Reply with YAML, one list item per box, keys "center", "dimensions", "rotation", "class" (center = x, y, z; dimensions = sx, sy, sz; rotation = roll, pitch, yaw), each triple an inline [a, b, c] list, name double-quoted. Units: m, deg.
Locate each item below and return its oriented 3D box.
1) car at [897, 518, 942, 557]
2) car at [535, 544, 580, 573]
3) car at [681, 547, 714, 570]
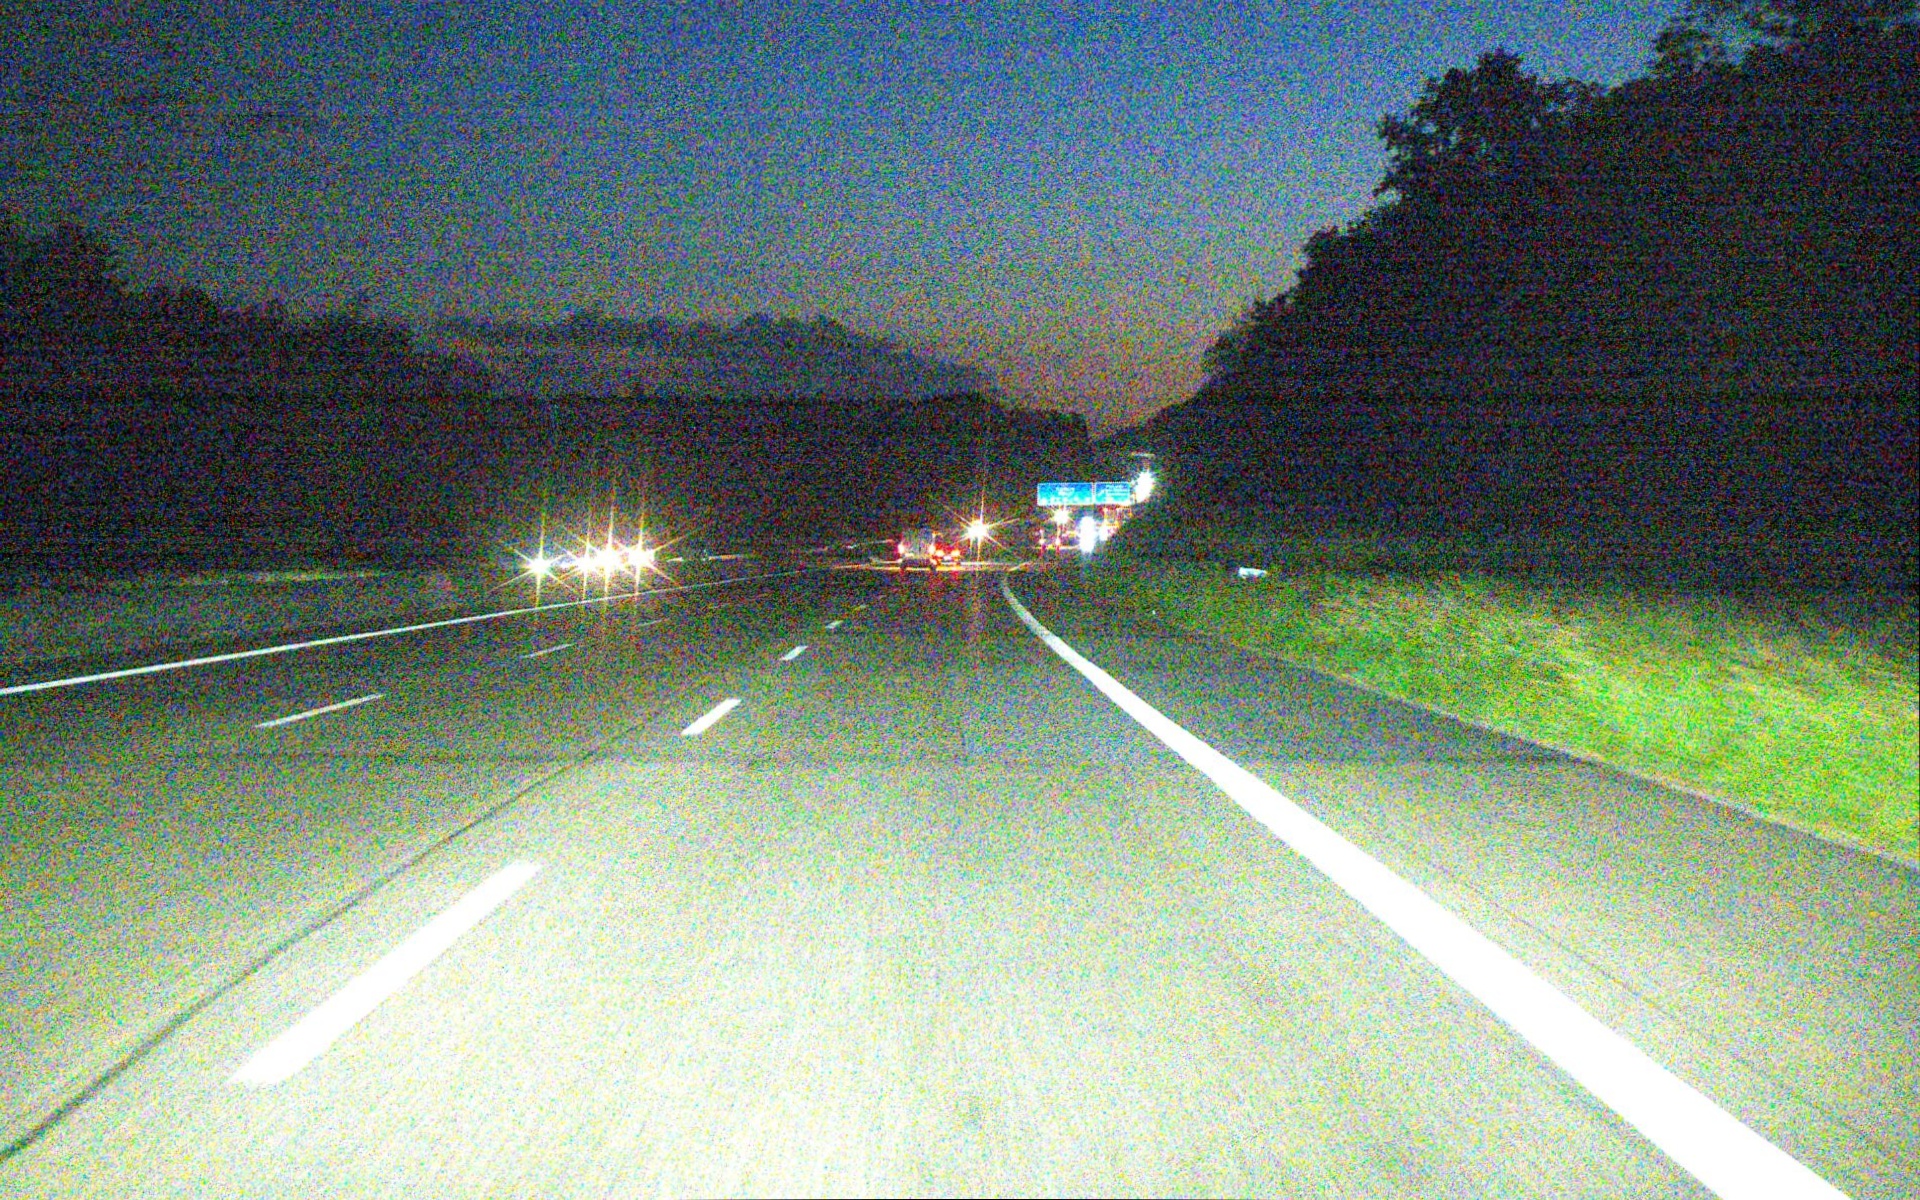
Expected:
- center: [-2.413, -3.739, 205.136]
  dimensions: [2.511, 2.306, 4.970]
  rotation: [0, 1, 2]
  class: "car"
- center: [-22.510, -2.306, 192.392]
  dimensions: [2.051, 1.593, 5.078]
  rotation: [0, 1, -1]
  class: "car"
- center: [-17.616, -2.811, 231.201]
  dimensions: [1.861, 1.492, 4.705]
  rotation: [0, 1, 0]
  class: "car"
